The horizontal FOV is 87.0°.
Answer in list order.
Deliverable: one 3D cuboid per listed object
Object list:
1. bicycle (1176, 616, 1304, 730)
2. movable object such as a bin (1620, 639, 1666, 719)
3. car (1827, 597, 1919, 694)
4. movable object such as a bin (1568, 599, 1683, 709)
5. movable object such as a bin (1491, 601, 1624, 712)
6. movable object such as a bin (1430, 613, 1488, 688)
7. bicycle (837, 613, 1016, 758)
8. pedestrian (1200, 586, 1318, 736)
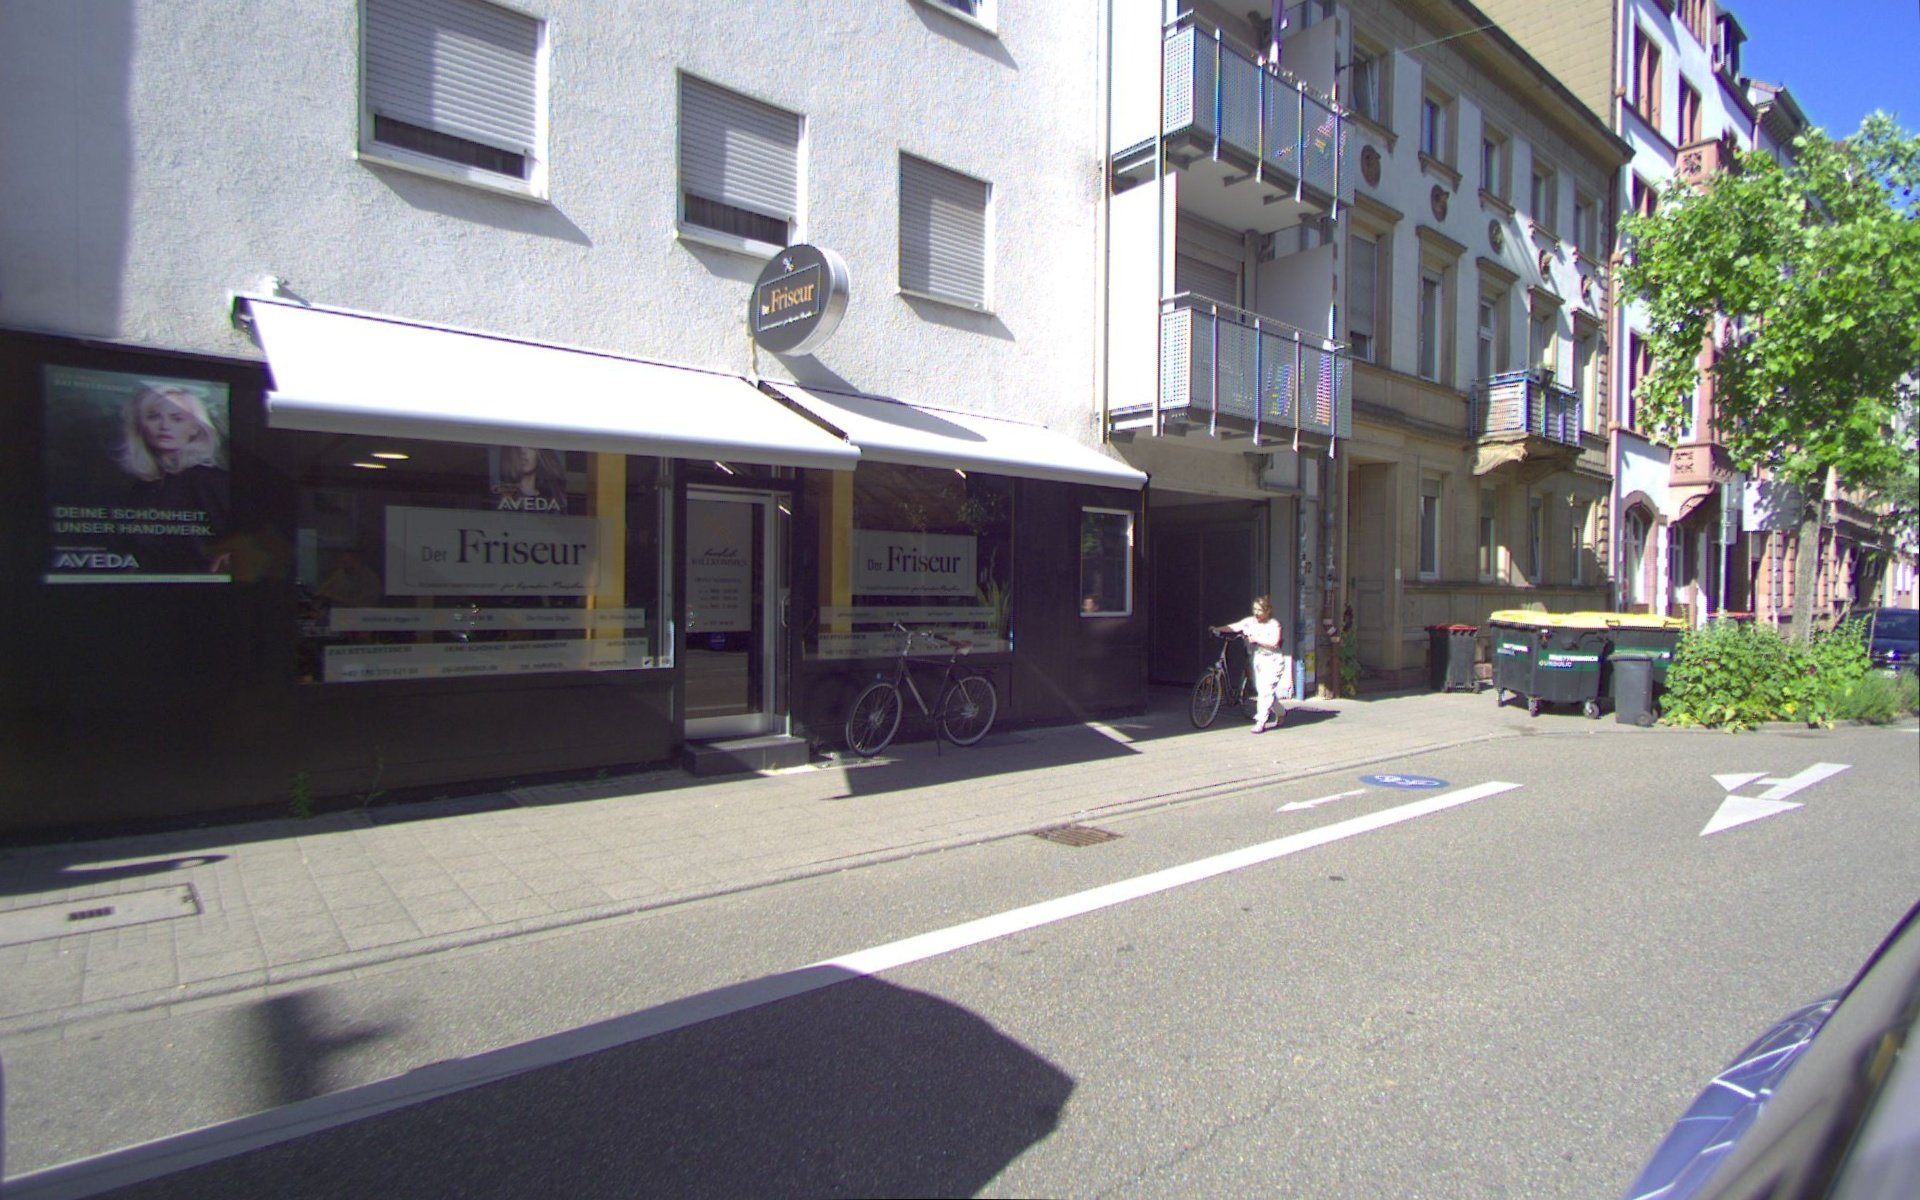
[{"bbox_3d":[3.176,0.783,11.402,1.760,1.146,0.402,0,4,-40],"label":"bicycle"},{"bbox_3d":[8.736,0.998,12.939,0.399,0.933,0.477,3,3,42],"label":"movable object such as a bin"},{"bbox_3d":[16.051,0.712,17.182,3.292,1.510,1.550,0,1,-41],"label":"car"},{"bbox_3d":[9.135,0.713,13.948,0.943,1.365,1.066,1,3,12],"label":"movable object such as a bin"},{"bbox_3d":[8.015,0.727,13.638,1.031,1.341,1.216,1,3,2],"label":"movable object such as a bin"},{"bbox_3d":[7.727,0.769,15.687,0.557,1.094,0.617,1,3,2],"label":"movable object such as a bin"},{"bbox_3d":[-0.275,0.733,9.260,1.760,1.193,0.402,0,0,-40],"label":"bicycle"},{"bbox_3d":[3.364,0.649,11.399,0.930,1.556,0.825,0,4,-40],"label":"pedestrian"}]
